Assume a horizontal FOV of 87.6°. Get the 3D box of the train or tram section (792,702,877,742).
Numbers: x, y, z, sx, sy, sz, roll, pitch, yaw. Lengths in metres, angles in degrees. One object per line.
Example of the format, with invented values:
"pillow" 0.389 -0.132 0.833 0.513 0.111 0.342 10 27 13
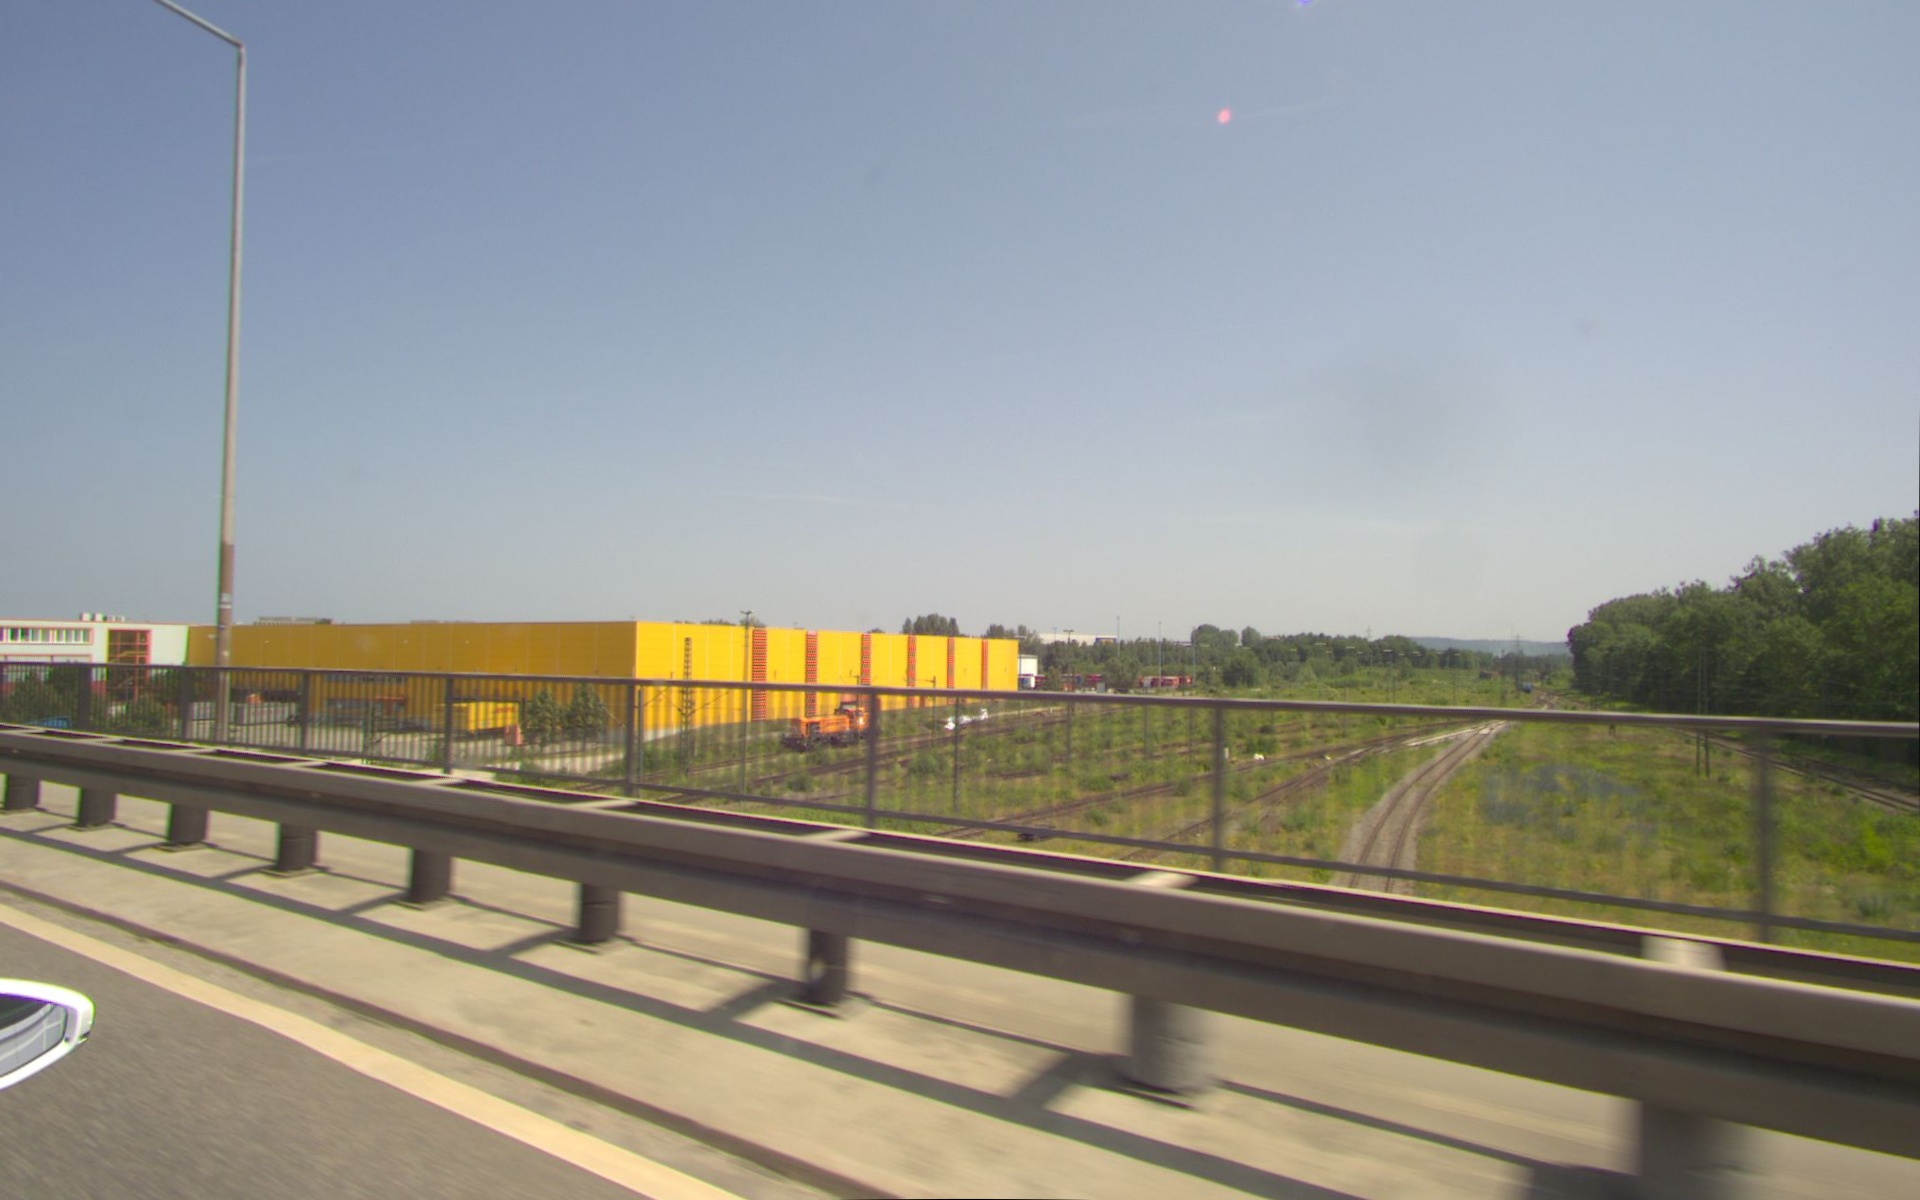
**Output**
"train or tram section" -13.452 13.223 109.571 2.202 3.733 13.982 0 -4 24
